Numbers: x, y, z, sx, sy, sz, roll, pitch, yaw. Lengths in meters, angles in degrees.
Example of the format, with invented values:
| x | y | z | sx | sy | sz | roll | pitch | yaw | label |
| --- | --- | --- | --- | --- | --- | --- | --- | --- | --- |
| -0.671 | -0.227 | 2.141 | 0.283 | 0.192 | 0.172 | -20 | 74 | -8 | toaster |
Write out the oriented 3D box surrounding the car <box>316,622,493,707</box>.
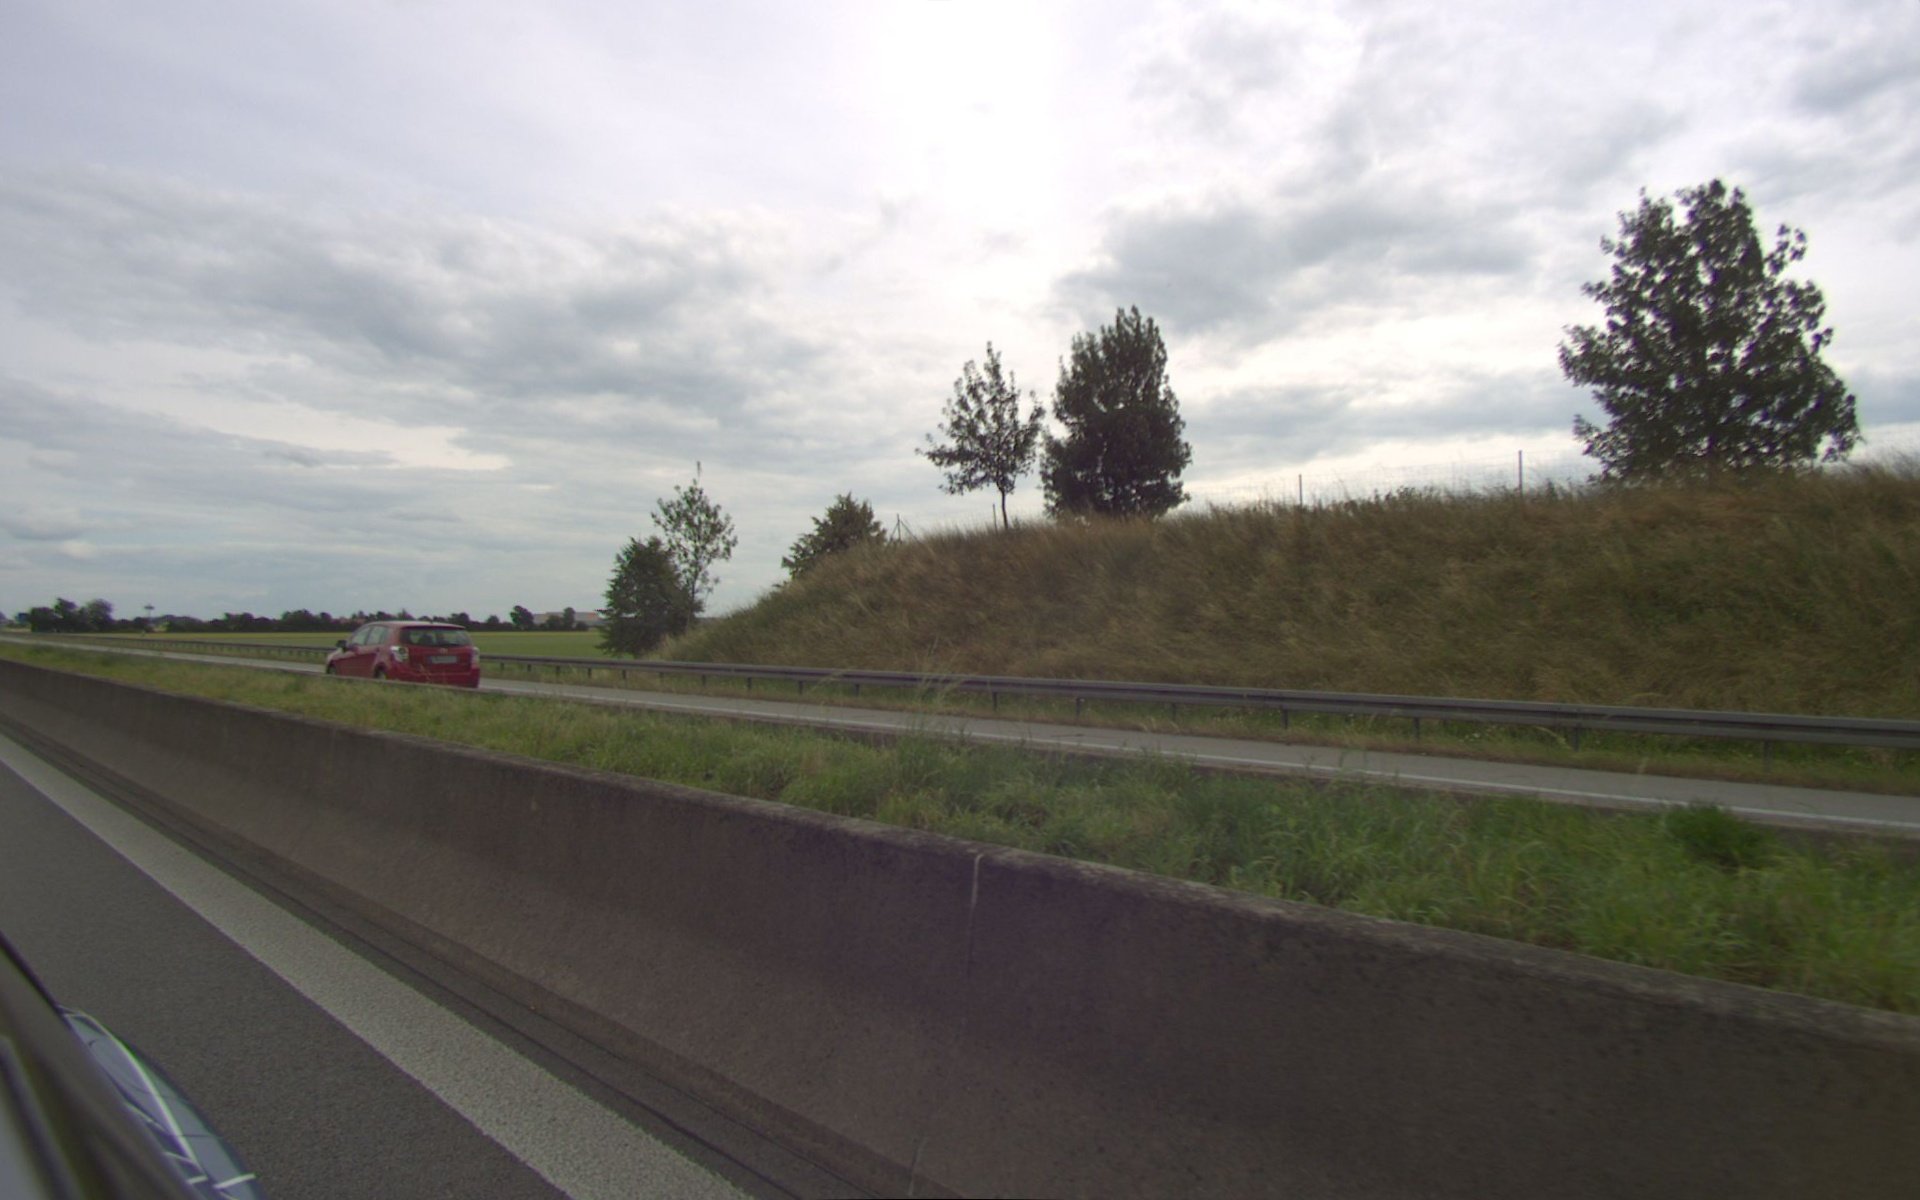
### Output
| x | y | z | sx | sy | sz | roll | pitch | yaw | label |
| --- | --- | --- | --- | --- | --- | --- | --- | --- | --- |
| -11.644 | 1.299 | 21.097 | 4.359 | 1.583 | 1.826 | -2 | -4 | 41 | car |
